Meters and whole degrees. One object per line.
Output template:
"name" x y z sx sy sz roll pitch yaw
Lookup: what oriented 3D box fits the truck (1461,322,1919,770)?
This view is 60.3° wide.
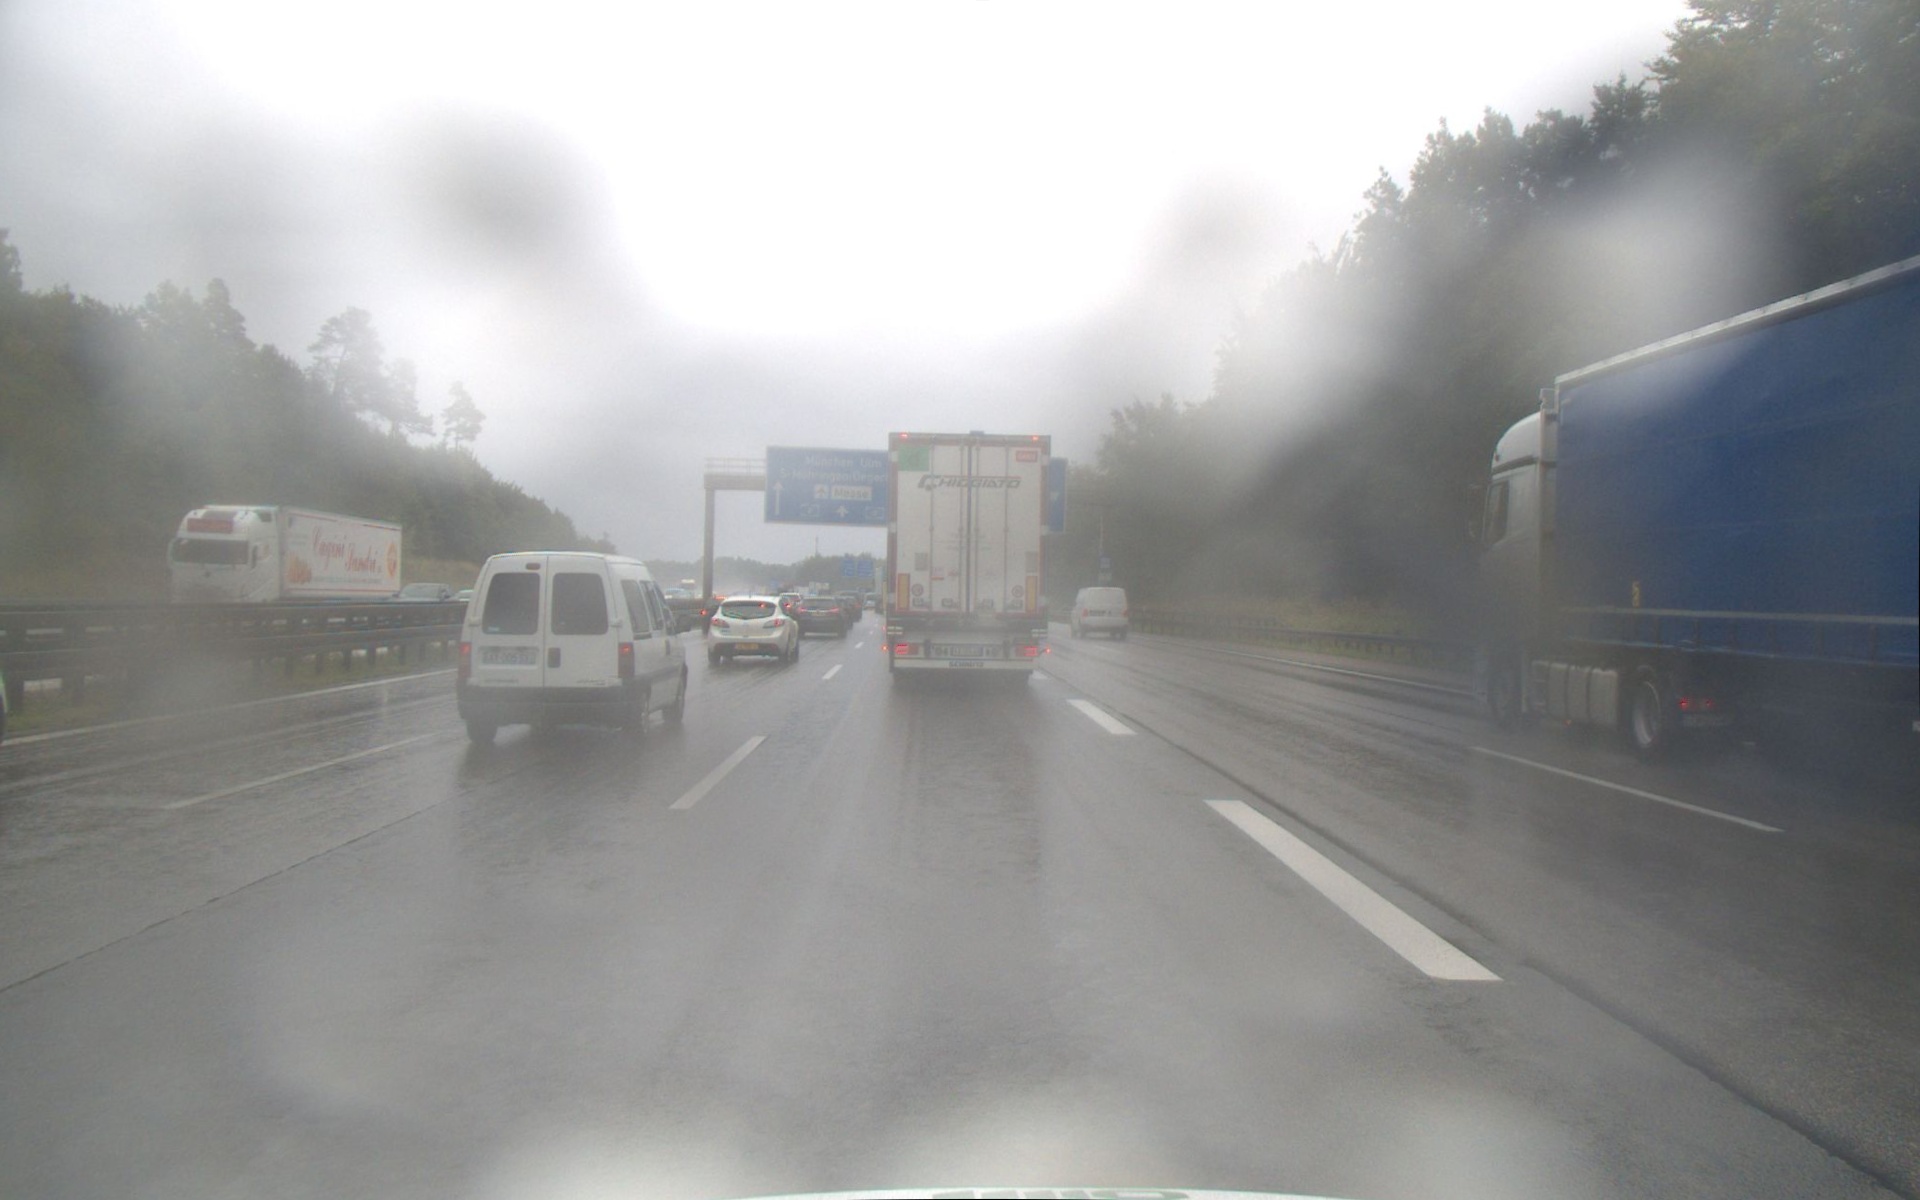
"truck" 7.813 -0.499 18.258 2.549 4.084 6.010 1 0 -2

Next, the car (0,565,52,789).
"car" -7.818 0.560 10.347 1.808 1.619 4.466 1 1 0

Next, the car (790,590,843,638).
"car" -5.129 0.470 59.563 1.809 1.619 4.463 1 1 -4

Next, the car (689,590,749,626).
"car" -9.613 0.288 66.230 1.808 1.354 4.466 1 1 -1

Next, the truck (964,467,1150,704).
"truck" 1.644 -0.218 31.280 2.813 3.624 11.304 1 0 1

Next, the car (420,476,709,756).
"car" -4.109 0.130 18.140 2.169 2.618 5.013 1 1 -3

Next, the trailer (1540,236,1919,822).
"trailer" 7.932 -0.480 11.629 2.502 4.084 13.710 1 0 -2

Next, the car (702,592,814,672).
"car" -4.430 0.664 36.808 1.807 1.619 4.073 1 1 2

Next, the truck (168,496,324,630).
"truck" -23.303 -1.164 54.324 2.489 4.096 6.321 1 0 -2

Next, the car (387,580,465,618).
"car" -19.971 -0.031 62.053 1.765 1.368 3.998 0 0 -2

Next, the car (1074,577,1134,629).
"car" 5.726 0.082 66.193 1.949 1.954 4.767 1 1 0

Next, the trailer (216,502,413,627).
"trailer" -23.655 -1.185 61.705 2.489 4.096 13.843 1 0 -3

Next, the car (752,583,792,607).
"car" -10.683 -0.302 94.309 1.808 1.354 4.466 1 1 -1

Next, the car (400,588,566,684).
"car" -8.830 0.606 31.018 1.808 1.619 4.466 1 1 0

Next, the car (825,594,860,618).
"car" -6.903 0.328 97.221 1.808 1.354 4.466 1 1 -1
